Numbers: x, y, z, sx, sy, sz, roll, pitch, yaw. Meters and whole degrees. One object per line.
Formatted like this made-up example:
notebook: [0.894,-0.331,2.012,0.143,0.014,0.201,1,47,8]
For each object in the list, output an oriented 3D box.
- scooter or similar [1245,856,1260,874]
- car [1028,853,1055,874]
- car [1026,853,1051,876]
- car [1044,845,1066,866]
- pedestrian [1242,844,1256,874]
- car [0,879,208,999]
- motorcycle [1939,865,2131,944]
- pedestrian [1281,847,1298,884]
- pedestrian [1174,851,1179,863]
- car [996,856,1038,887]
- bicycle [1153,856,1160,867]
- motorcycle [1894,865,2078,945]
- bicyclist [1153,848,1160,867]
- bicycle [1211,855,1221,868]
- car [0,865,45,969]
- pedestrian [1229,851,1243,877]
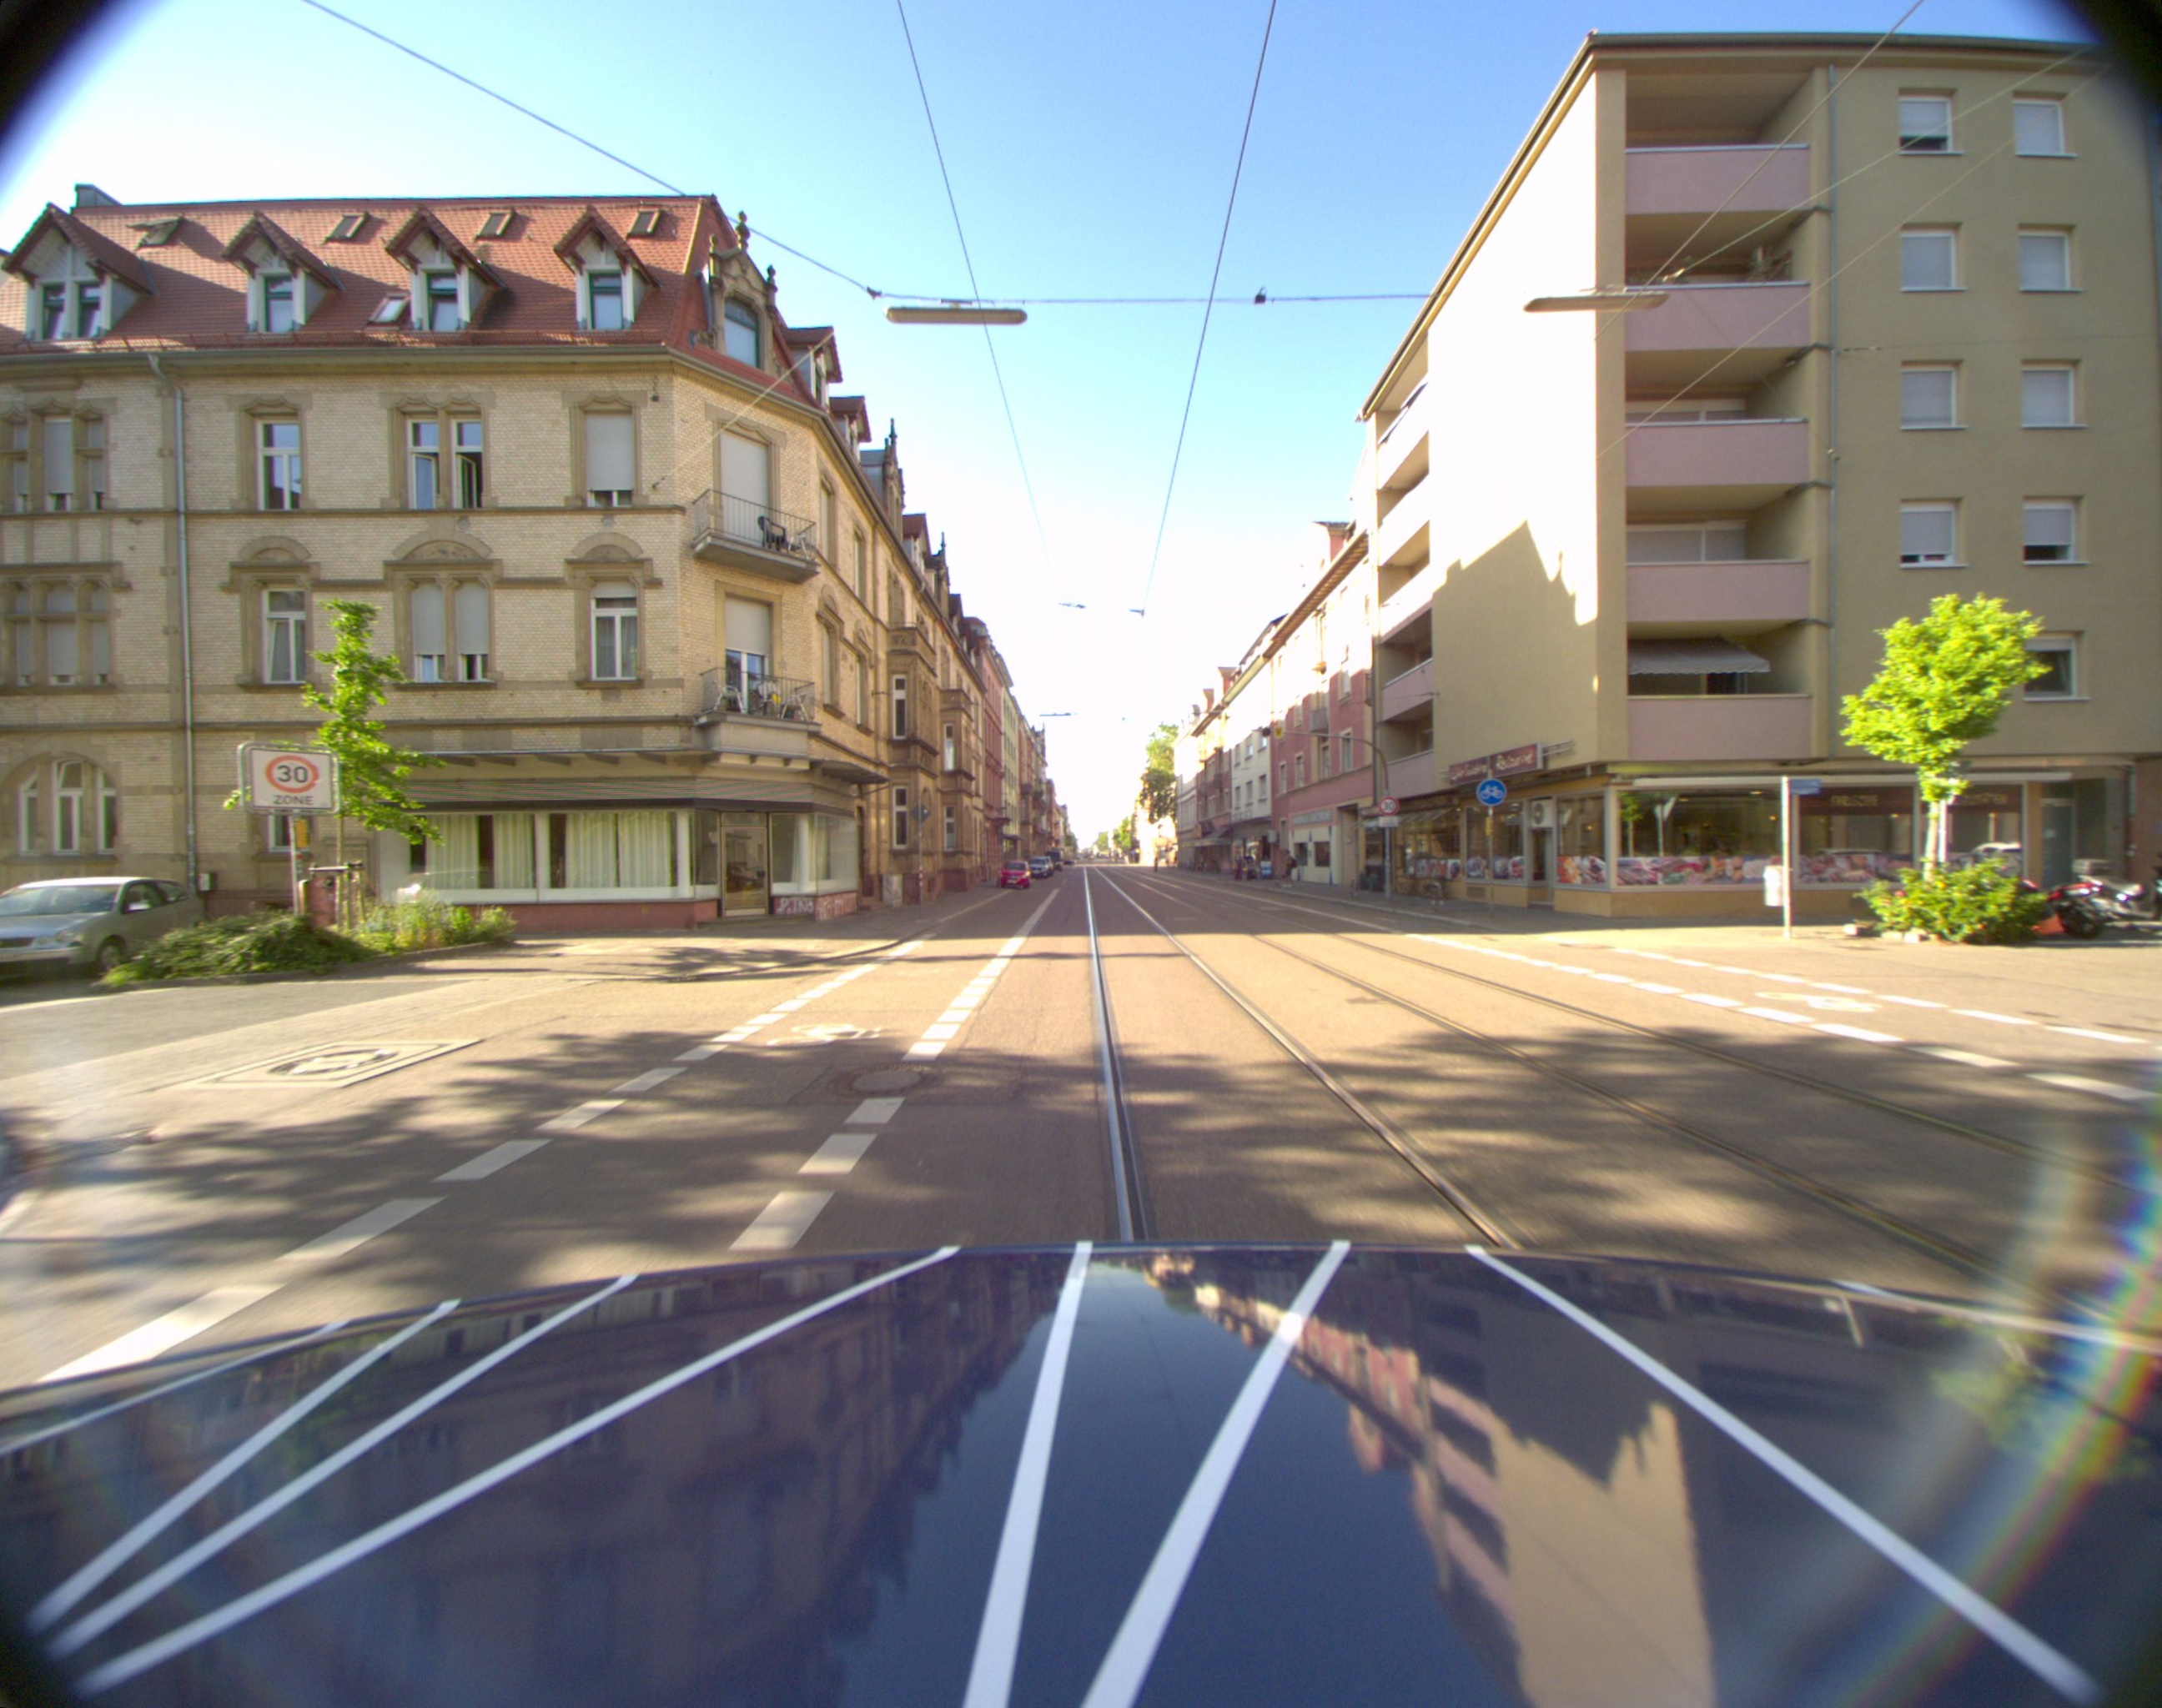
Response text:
scooter or similar: [10.132,0.648,44.953,0.663,1.055,1.105,-2,0,1]
car: [-3.349,0.800,65.662,1.998,1.606,4.785,2,1,0]
car: [-3.383,0.776,59.922,1.871,1.637,4.399,2,0,-4]
car: [-3.122,0.133,92.736,2.128,2.478,5.856,-2,1,2]
pedestrian: [10.200,0.314,46.228,0.627,1.779,0.821,-2,1,0]
car: [-15.739,1.236,11.797,1.775,1.523,3.523,-2,1,-30]
motorcycle: [16.470,0.822,13.225,0.621,1.202,2.176,-2,1,1]
pedestrian: [9.739,0.530,35.521,0.564,1.676,0.616,-2,1,-1]
pedestrian: [15.283,0.478,121.588,0.795,1.837,0.809,-2,1,3]
car: [-3.470,0.932,41.915,1.870,1.474,4.400,2,1,0]
bicycle: [7.921,0.759,79.568,0.603,1.089,2.044,1,1,1]
motorcycle: [15.676,0.834,13.269,0.621,1.202,2.176,-2,1,1]
bicyclist: [7.960,0.330,79.813,0.613,2.002,0.733,-2,1,1]
bicycle: [11.486,0.628,64.771,0.425,1.053,2.329,-2,1,0]
car: [-19.401,1.139,12.258,1.775,1.819,3.731,-2,1,-30]
pedestrian: [9.310,0.613,45.596,0.637,1.540,0.623,-2,1,0]
